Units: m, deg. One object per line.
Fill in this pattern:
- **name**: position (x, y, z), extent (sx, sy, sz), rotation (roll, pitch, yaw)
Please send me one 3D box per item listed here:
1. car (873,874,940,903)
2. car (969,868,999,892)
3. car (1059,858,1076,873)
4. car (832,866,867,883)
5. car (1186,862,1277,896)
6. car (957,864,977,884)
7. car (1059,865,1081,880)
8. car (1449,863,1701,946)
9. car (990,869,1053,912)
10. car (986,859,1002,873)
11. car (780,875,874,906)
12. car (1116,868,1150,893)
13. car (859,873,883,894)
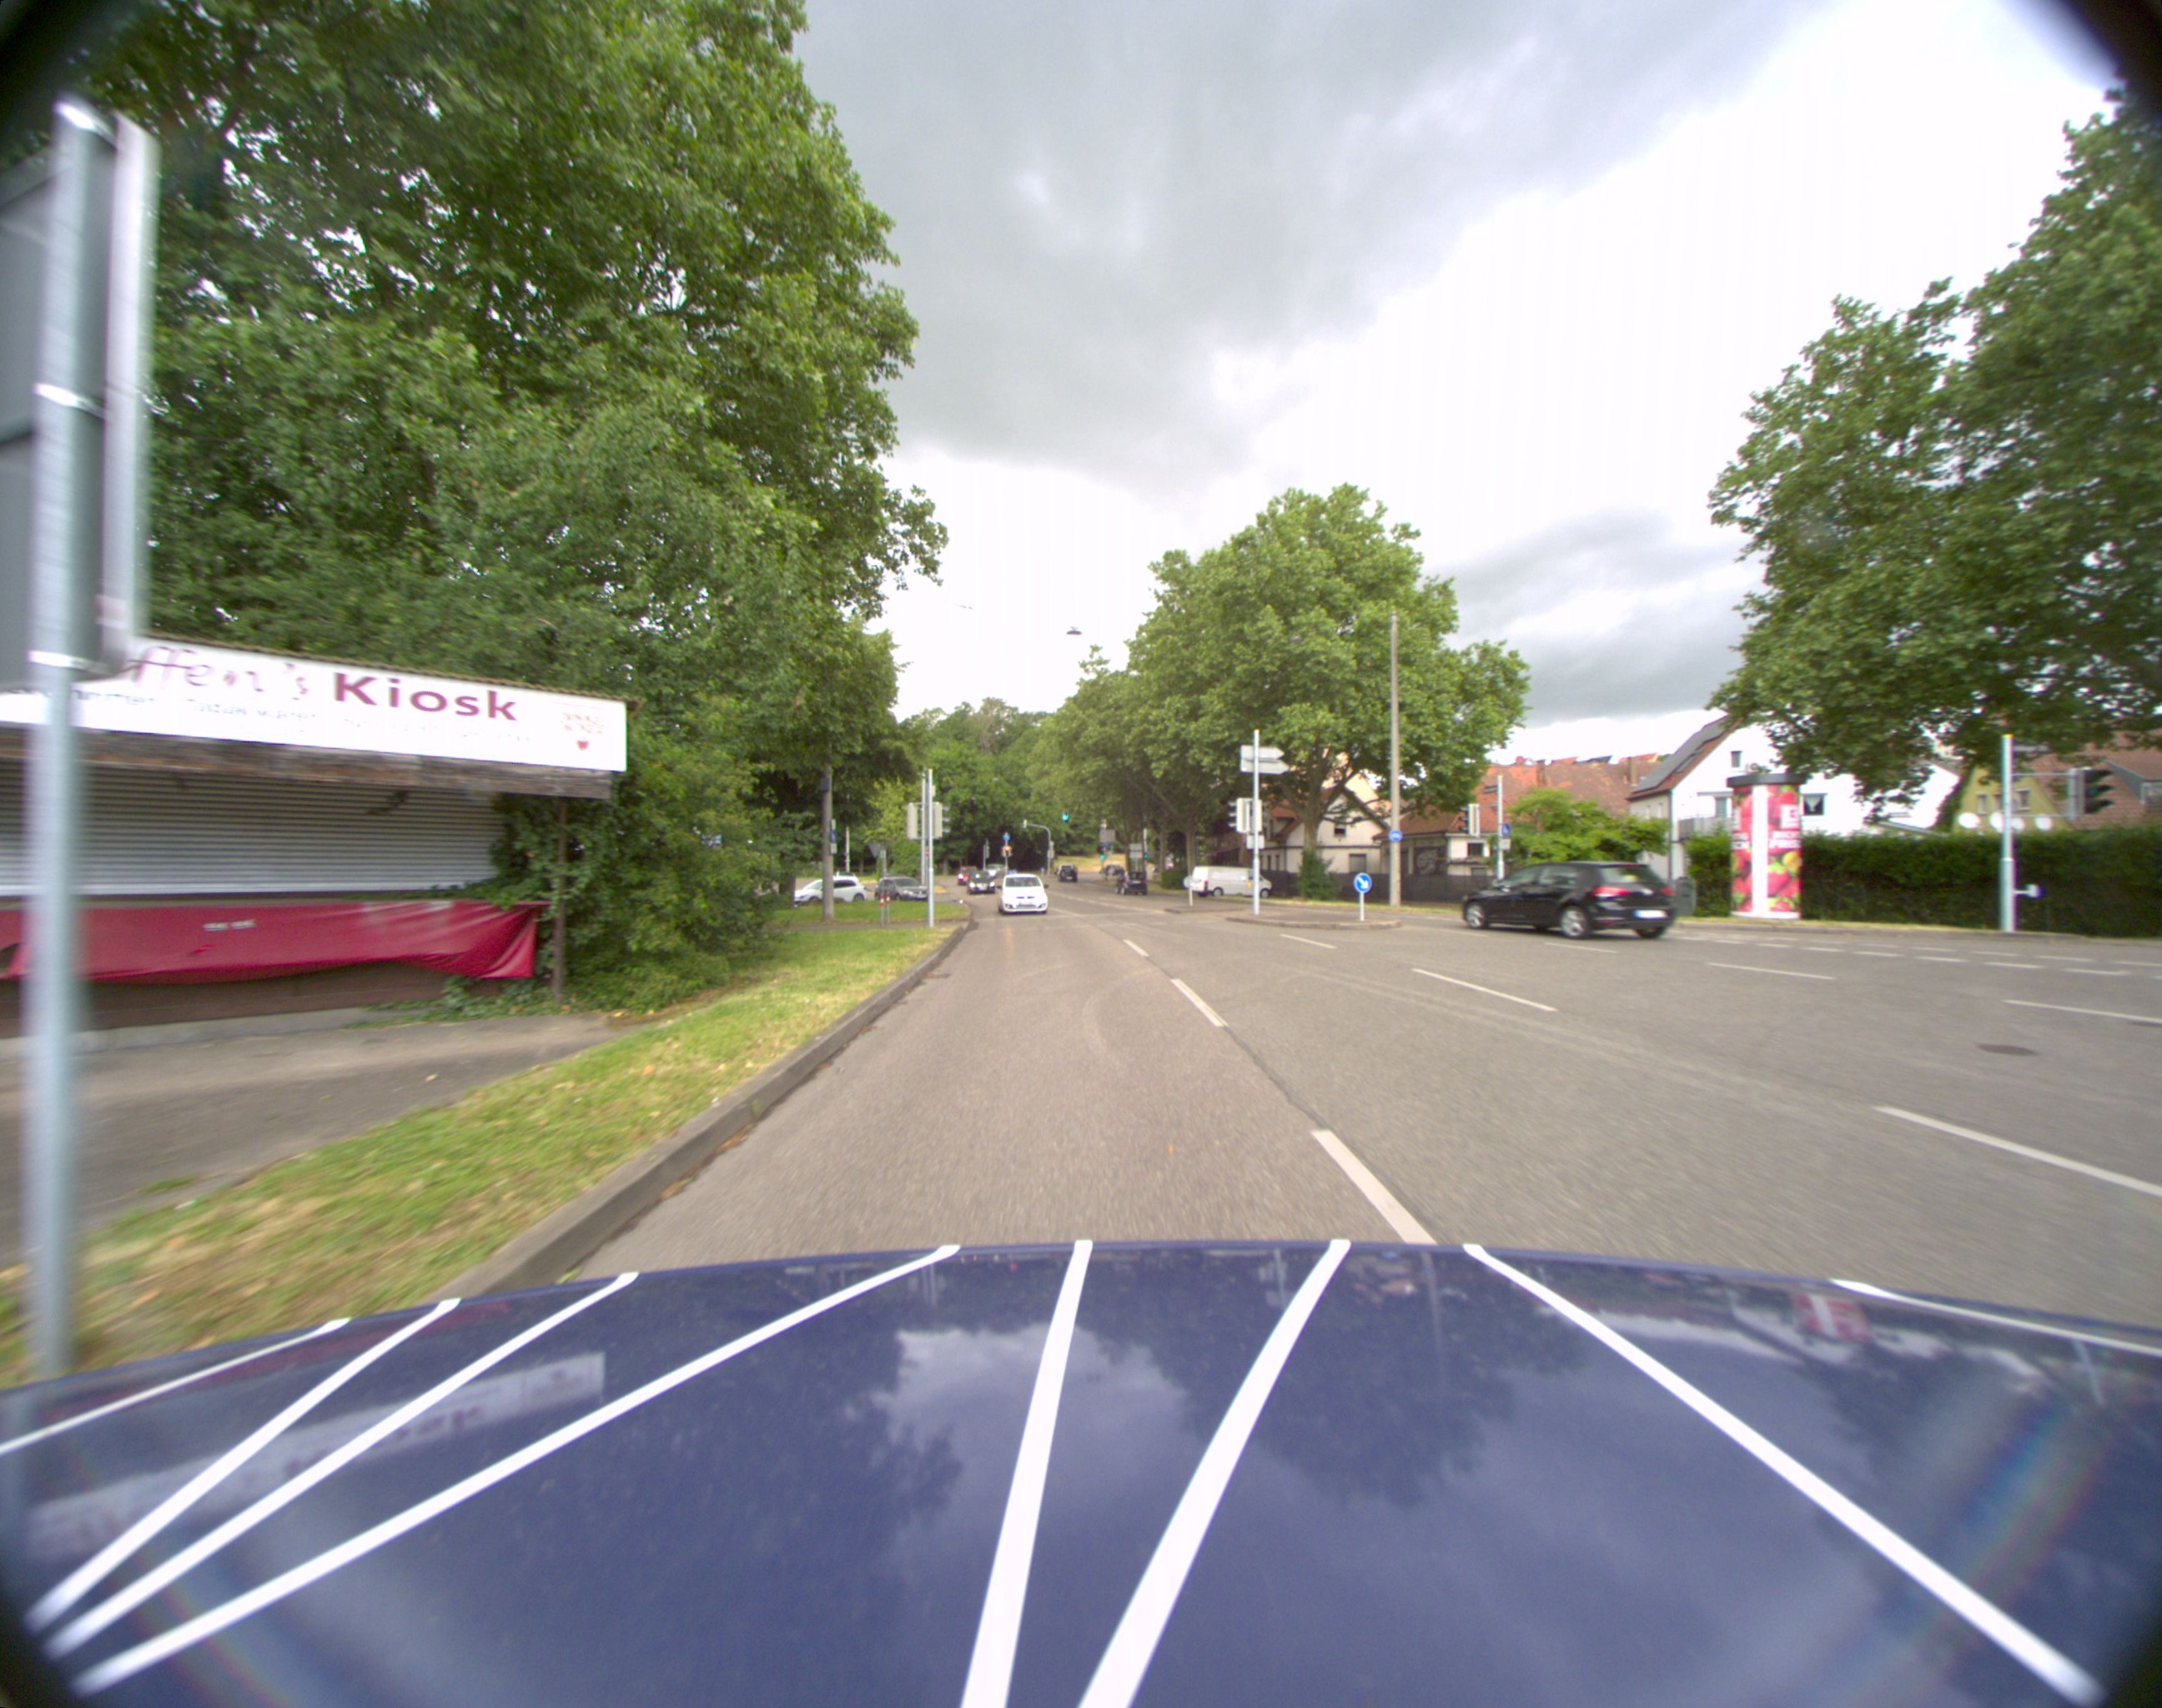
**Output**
- **car**: position (-9.204, 1.771, 39.897), extent (1.737, 1.420, 4.102), rotation (0, -2, -39)
- **car**: position (-6.727, 1.778, 52.624), extent (1.732, 1.512, 3.995), rotation (0, 0, -12)
- **car**: position (-1.539, 1.321, 87.126), extent (1.916, 1.753, 4.753), rotation (0, -1, 0)
- **car**: position (-20.354, 1.784, 66.625), extent (2.003, 1.378, 4.776), rotation (0, 0, -29)
- **car**: position (9.358, 1.555, 47.128), extent (5.250, 1.919, 2.080), rotation (2, -1, -23)
- **car**: position (-10.231, 1.759, 68.049), extent (1.676, 1.632, 4.096), rotation (0, 0, -10)
- **car**: position (-1.150, 1.845, 76.463), extent (1.574, 1.374, 3.946), rotation (1, 0, -10)
- **car**: position (9.415, 0.871, 14.992), extent (1.683, 1.358, 4.308), rotation (-1, -1, -9)
- **car**: position (-2.325, 1.331, 28.720), extent (1.630, 1.499, 3.995), rotation (0, -1, -15)
- **car**: position (-10.038, 1.362, 87.815), extent (1.784, 1.559, 3.997), rotation (0, 0, -6)
- **car**: position (-12.755, 1.812, 38.406), extent (1.760, 1.372, 4.271), rotation (-1, 0, 36)
- **car**: position (3.400, 1.711, 49.813), extent (1.573, 1.518, 3.186), rotation (0, 0, -8)
- **car**: position (-15.454, 2.160, 56.029), extent (1.574, 1.396, 3.491), rotation (0, -1, -13)
